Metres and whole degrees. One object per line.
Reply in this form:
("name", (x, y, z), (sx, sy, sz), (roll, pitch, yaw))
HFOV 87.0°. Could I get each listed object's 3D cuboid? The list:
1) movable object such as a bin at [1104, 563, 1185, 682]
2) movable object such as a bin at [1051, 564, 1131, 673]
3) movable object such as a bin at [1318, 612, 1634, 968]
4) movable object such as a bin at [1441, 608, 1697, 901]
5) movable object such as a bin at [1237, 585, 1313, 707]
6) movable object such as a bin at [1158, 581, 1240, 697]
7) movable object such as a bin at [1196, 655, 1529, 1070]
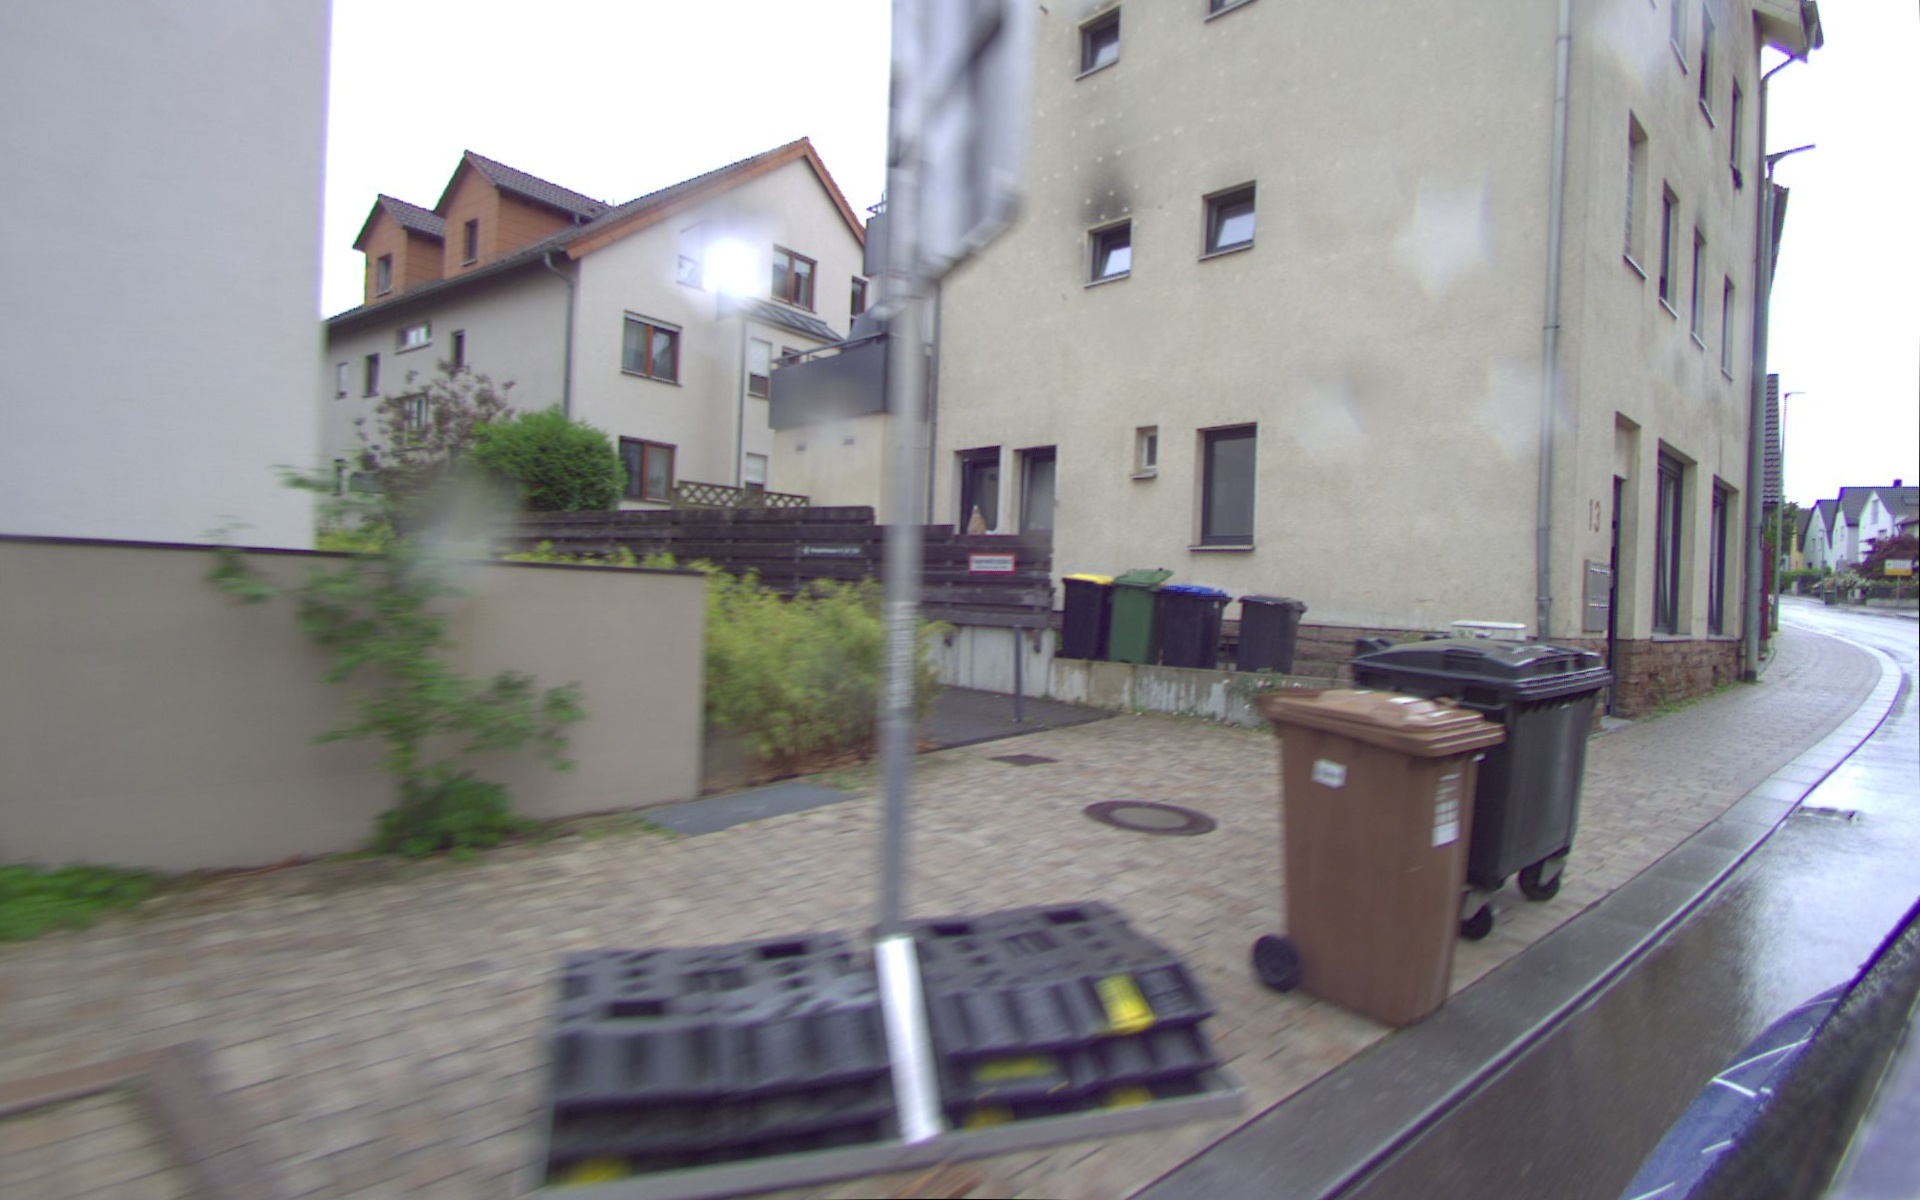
("movable object such as a bin", (1.985, 0.217, 10.884), (0.581, 1.199, 0.712), (4, 4, 33))
("movable object such as a bin", (1.453, 0.179, 11.186), (0.581, 1.122, 0.712), (4, 4, 33))
("movable object such as a bin", (2.318, 0.732, 4.526), (1.222, 1.263, 0.797), (-1, 4, -41))
("movable object such as a bin", (3.175, 0.717, 5.276), (1.042, 1.263, 0.797), (-1, 4, -41))
("movable object such as a bin", (3.152, 0.437, 10.114), (0.507, 1.122, 0.712), (4, 4, 33))
("movable object such as a bin", (2.498, 0.380, 10.567), (0.581, 1.122, 0.712), (4, 4, 33))
("movable object such as a bin", (1.407, 0.816, 3.562), (0.796, 1.122, 0.762), (-1, 4, -41))
